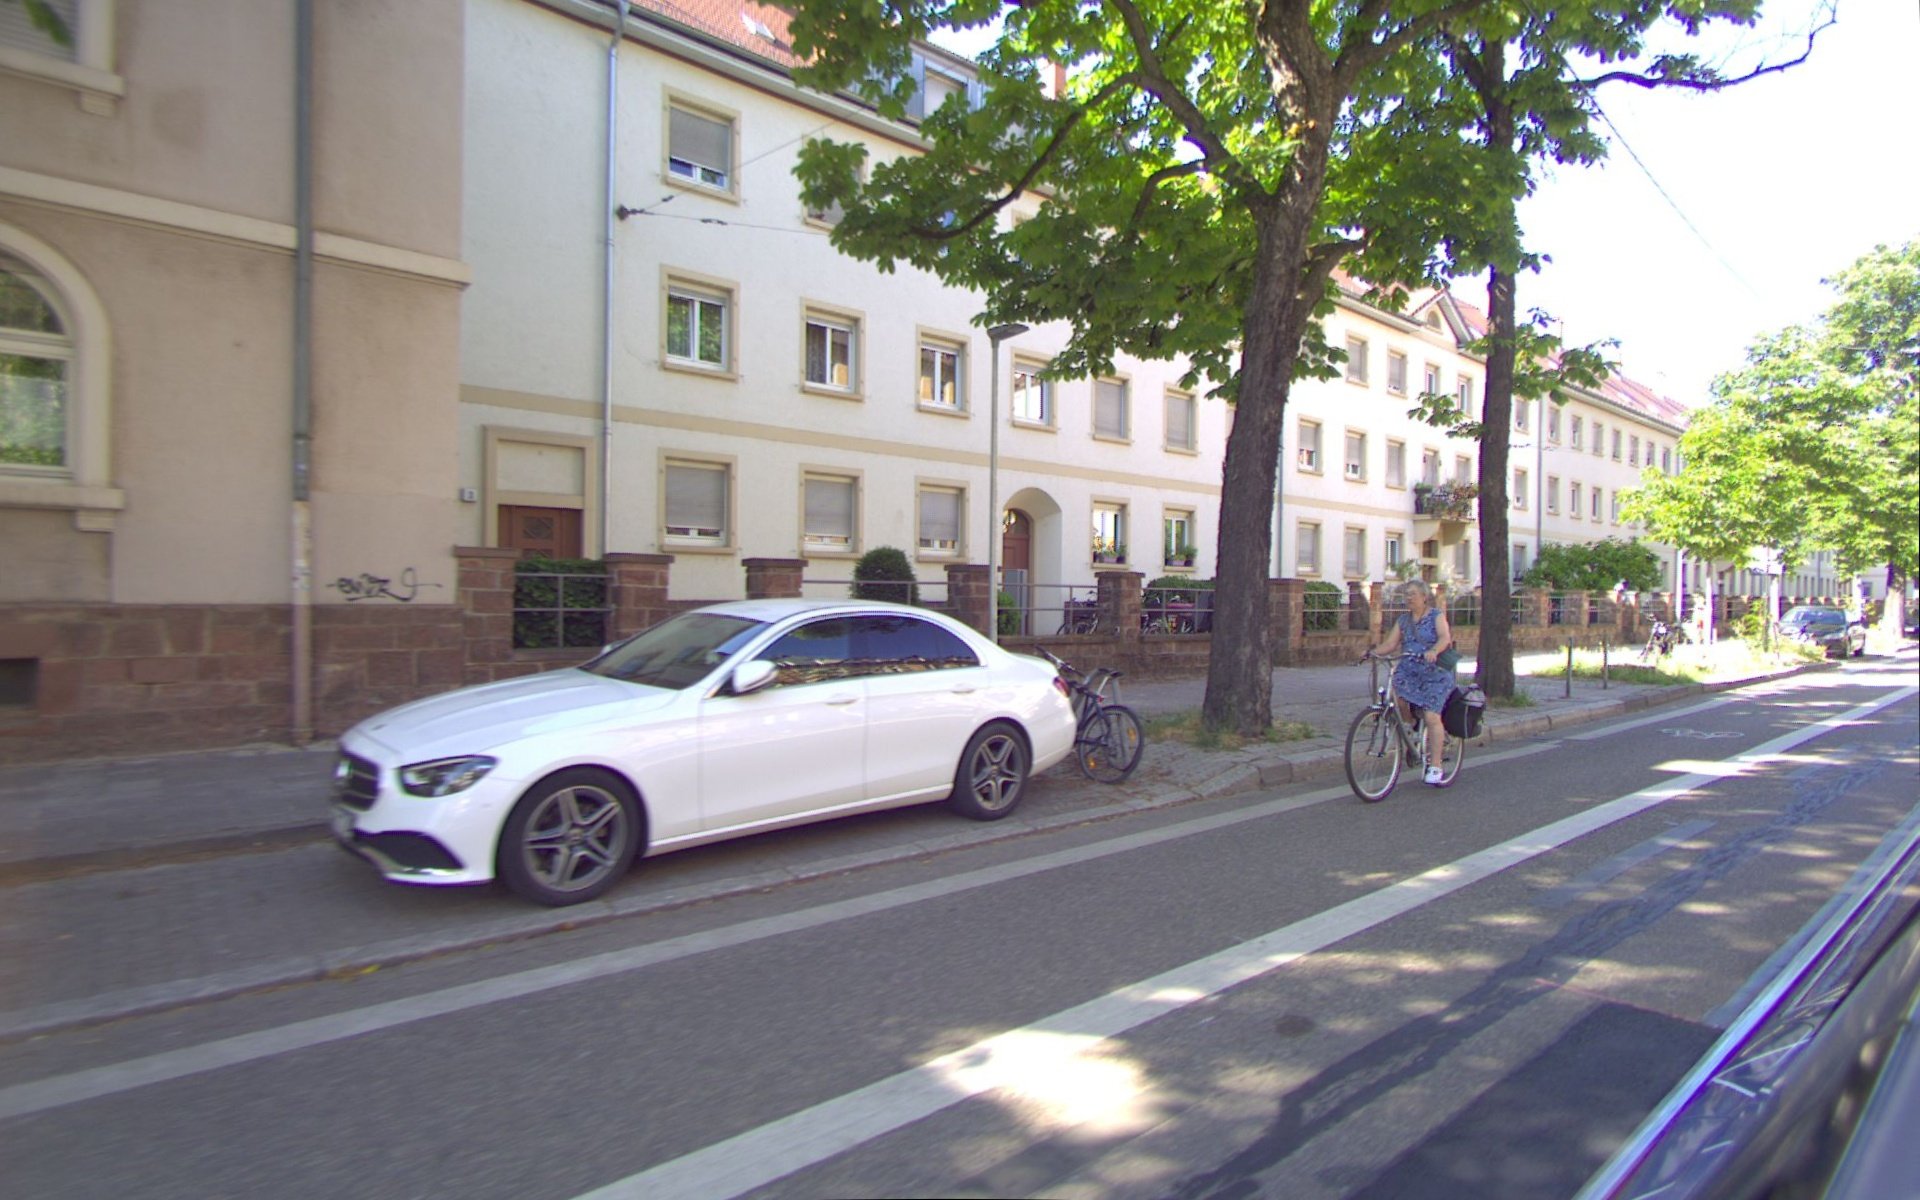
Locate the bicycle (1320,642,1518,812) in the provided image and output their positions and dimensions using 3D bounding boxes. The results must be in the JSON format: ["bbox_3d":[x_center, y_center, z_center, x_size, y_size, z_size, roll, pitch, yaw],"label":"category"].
[{"bbox_3d":[3.660,0.929,8.002,1.883,1.127,0.693,0,-1,-40],"label":"bicycle"}]

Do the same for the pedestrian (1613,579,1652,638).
[{"bbox_3d":[20.088,0.245,30.233,0.568,1.746,0.766,0,-1,-11],"label":"pedestrian"}]

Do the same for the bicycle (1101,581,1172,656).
[{"bbox_3d":[3.030,0.312,17.307,1.349,1.238,0.435,1,-1,-40],"label":"bicycle"}]

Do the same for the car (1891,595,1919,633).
[{"bbox_3d":[40.330,0.578,42.247,4.173,1.492,1.723,0,2,-42],"label":"car"}]

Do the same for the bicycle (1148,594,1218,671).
[{"bbox_3d":[3.741,0.522,16.931,1.349,1.238,0.435,1,-1,-40],"label":"bicycle"}]

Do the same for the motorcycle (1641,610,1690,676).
[{"bbox_3d":[13.915,0.813,19.948,0.495,1.205,1.834,6,4,42],"label":"motorcycle"}]

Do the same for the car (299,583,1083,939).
[{"bbox_3d":[-1.323,0.675,6.421,4.587,1.454,1.630,0,1,-44],"label":"car"}]

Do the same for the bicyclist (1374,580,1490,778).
[{"bbox_3d":[3.753,0.594,8.051,0.605,1.487,0.636,1,-1,-40],"label":"bicyclist"}]

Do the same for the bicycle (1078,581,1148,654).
[{"bbox_3d":[2.678,0.301,17.661,1.349,1.238,0.435,1,-1,-40],"label":"bicycle"}]

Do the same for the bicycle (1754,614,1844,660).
[{"bbox_3d":[22.642,0.974,27.335,0.611,1.080,1.794,1,2,-44],"label":"bicycle"}]

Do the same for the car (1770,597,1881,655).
[{"bbox_3d":[24.745,0.695,28.893,3.973,1.482,1.791,0,1,-41],"label":"car"}]

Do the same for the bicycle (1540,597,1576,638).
[{"bbox_3d":[17.705,0.506,29.942,1.546,1.167,0.441,1,-1,-40],"label":"bicycle"}]

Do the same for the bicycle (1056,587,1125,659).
[{"bbox_3d":[2.341,0.392,18.044,1.349,1.238,0.435,1,-1,-40],"label":"bicycle"}]

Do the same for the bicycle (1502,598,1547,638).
[{"bbox_3d":[17.086,0.535,30.607,1.883,1.167,0.545,0,-1,-40],"label":"bicycle"}]

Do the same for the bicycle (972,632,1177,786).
[{"bbox_3d":[0.935,0.870,8.700,0.609,1.032,1.796,1,3,-40],"label":"bicycle"}]

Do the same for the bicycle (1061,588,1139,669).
[{"bbox_3d":[2.221,0.432,15.991,1.349,1.238,0.435,1,-1,-40],"label":"bicycle"}]

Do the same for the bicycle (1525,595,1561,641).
[{"bbox_3d":[16.616,0.501,28.826,1.398,1.277,0.349,0,-1,-36],"label":"bicycle"}]
